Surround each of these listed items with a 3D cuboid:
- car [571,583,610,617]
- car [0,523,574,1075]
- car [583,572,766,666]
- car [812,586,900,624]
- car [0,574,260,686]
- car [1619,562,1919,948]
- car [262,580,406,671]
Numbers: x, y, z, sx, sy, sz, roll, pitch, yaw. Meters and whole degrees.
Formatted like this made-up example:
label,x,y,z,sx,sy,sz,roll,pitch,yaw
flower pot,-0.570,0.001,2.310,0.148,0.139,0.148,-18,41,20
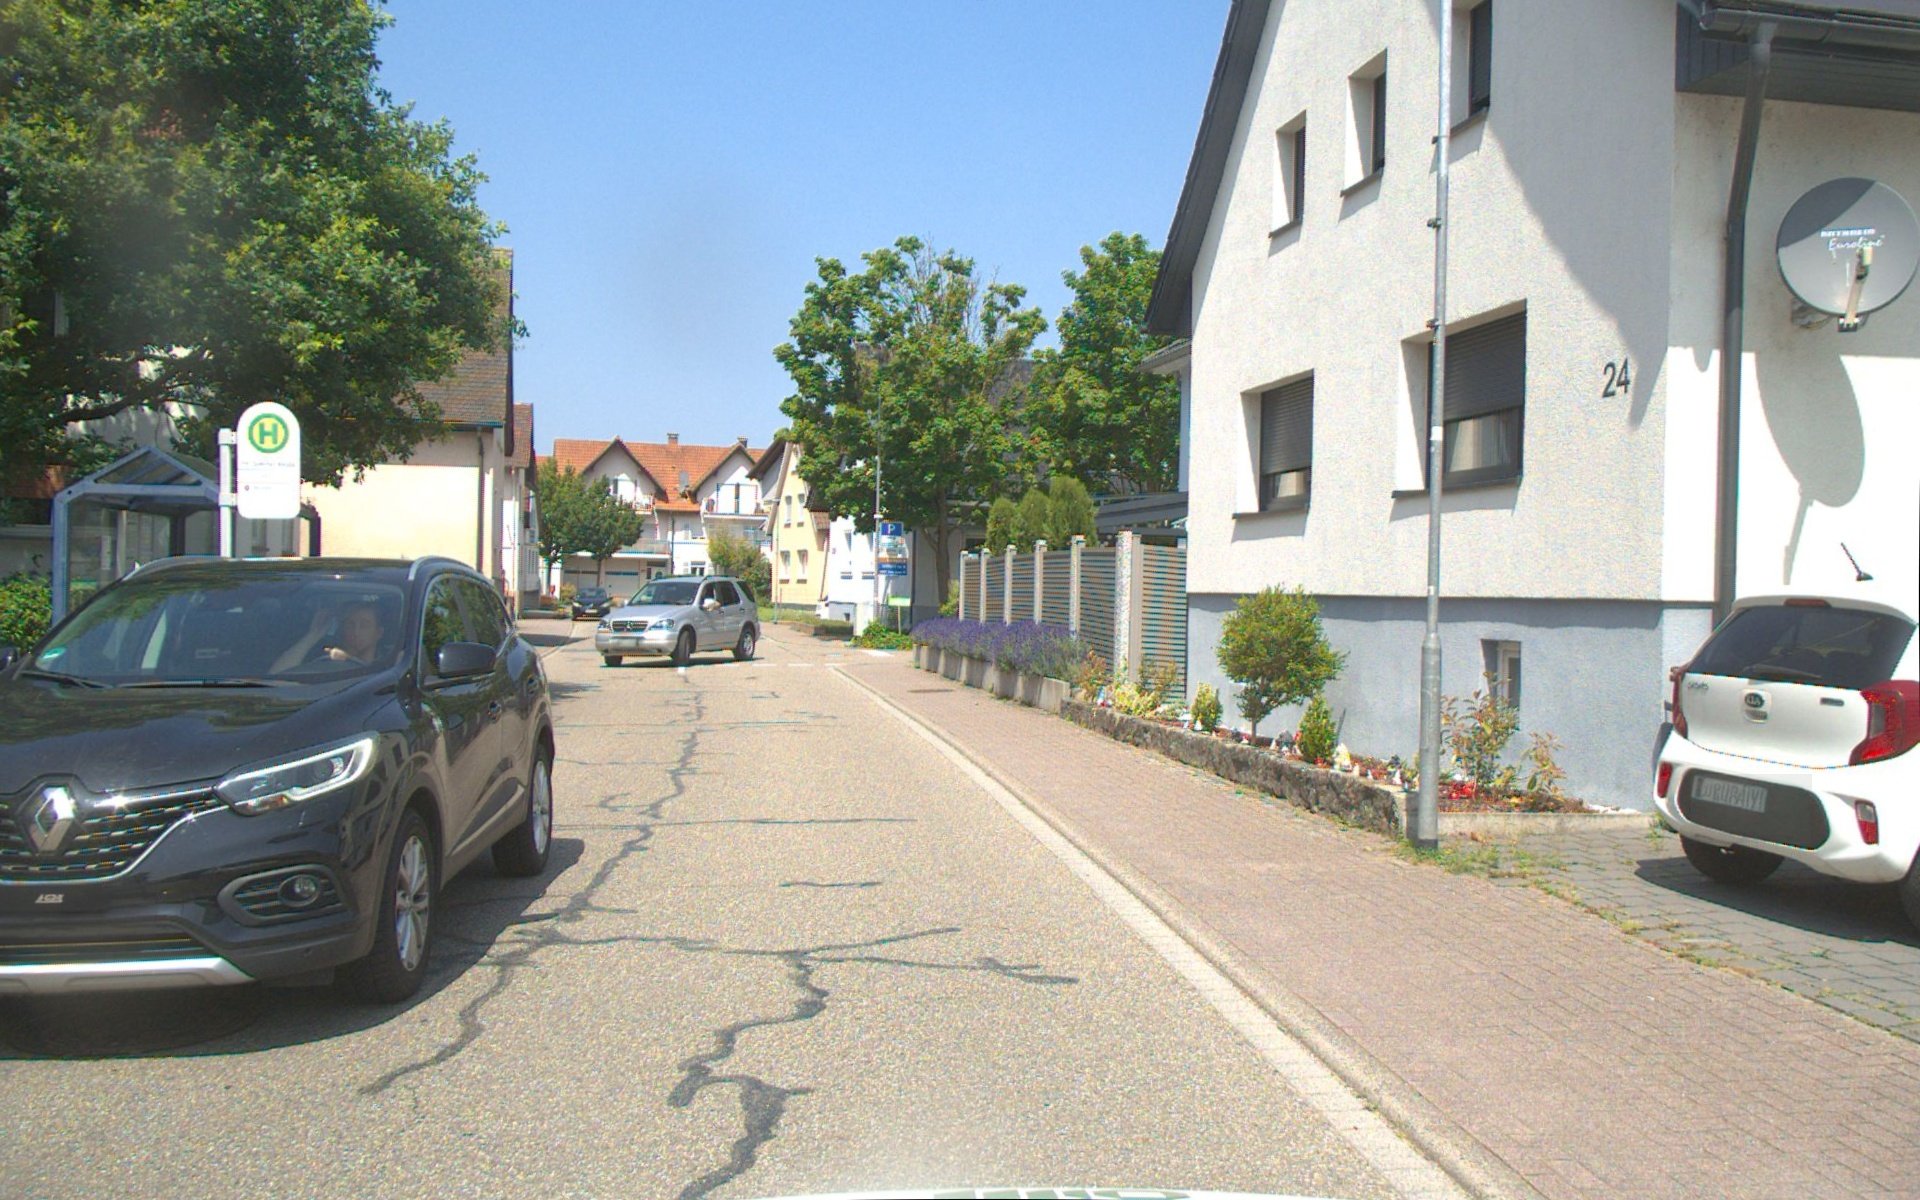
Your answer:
label,x,y,z,sx,sy,sz,roll,pitch,yaw
car,-16.584,-0.022,74.155,1.599,1.512,3.985,0,1,-14
car,-2.831,0.578,7.011,1.741,1.652,4.101,0,0,-5
car,-5.754,0.345,33.861,1.846,1.798,4.333,-1,0,18
car,-3.873,0.196,61.386,2.998,1.369,1.414,0,-1,-20
car,-12.898,0.424,24.818,4.085,1.565,1.769,-1,1,-11
car,5.194,0.571,7.738,3.594,1.500,1.760,-1,1,-13
car,-11.034,0.408,29.411,1.747,1.460,4.044,1,1,-12
